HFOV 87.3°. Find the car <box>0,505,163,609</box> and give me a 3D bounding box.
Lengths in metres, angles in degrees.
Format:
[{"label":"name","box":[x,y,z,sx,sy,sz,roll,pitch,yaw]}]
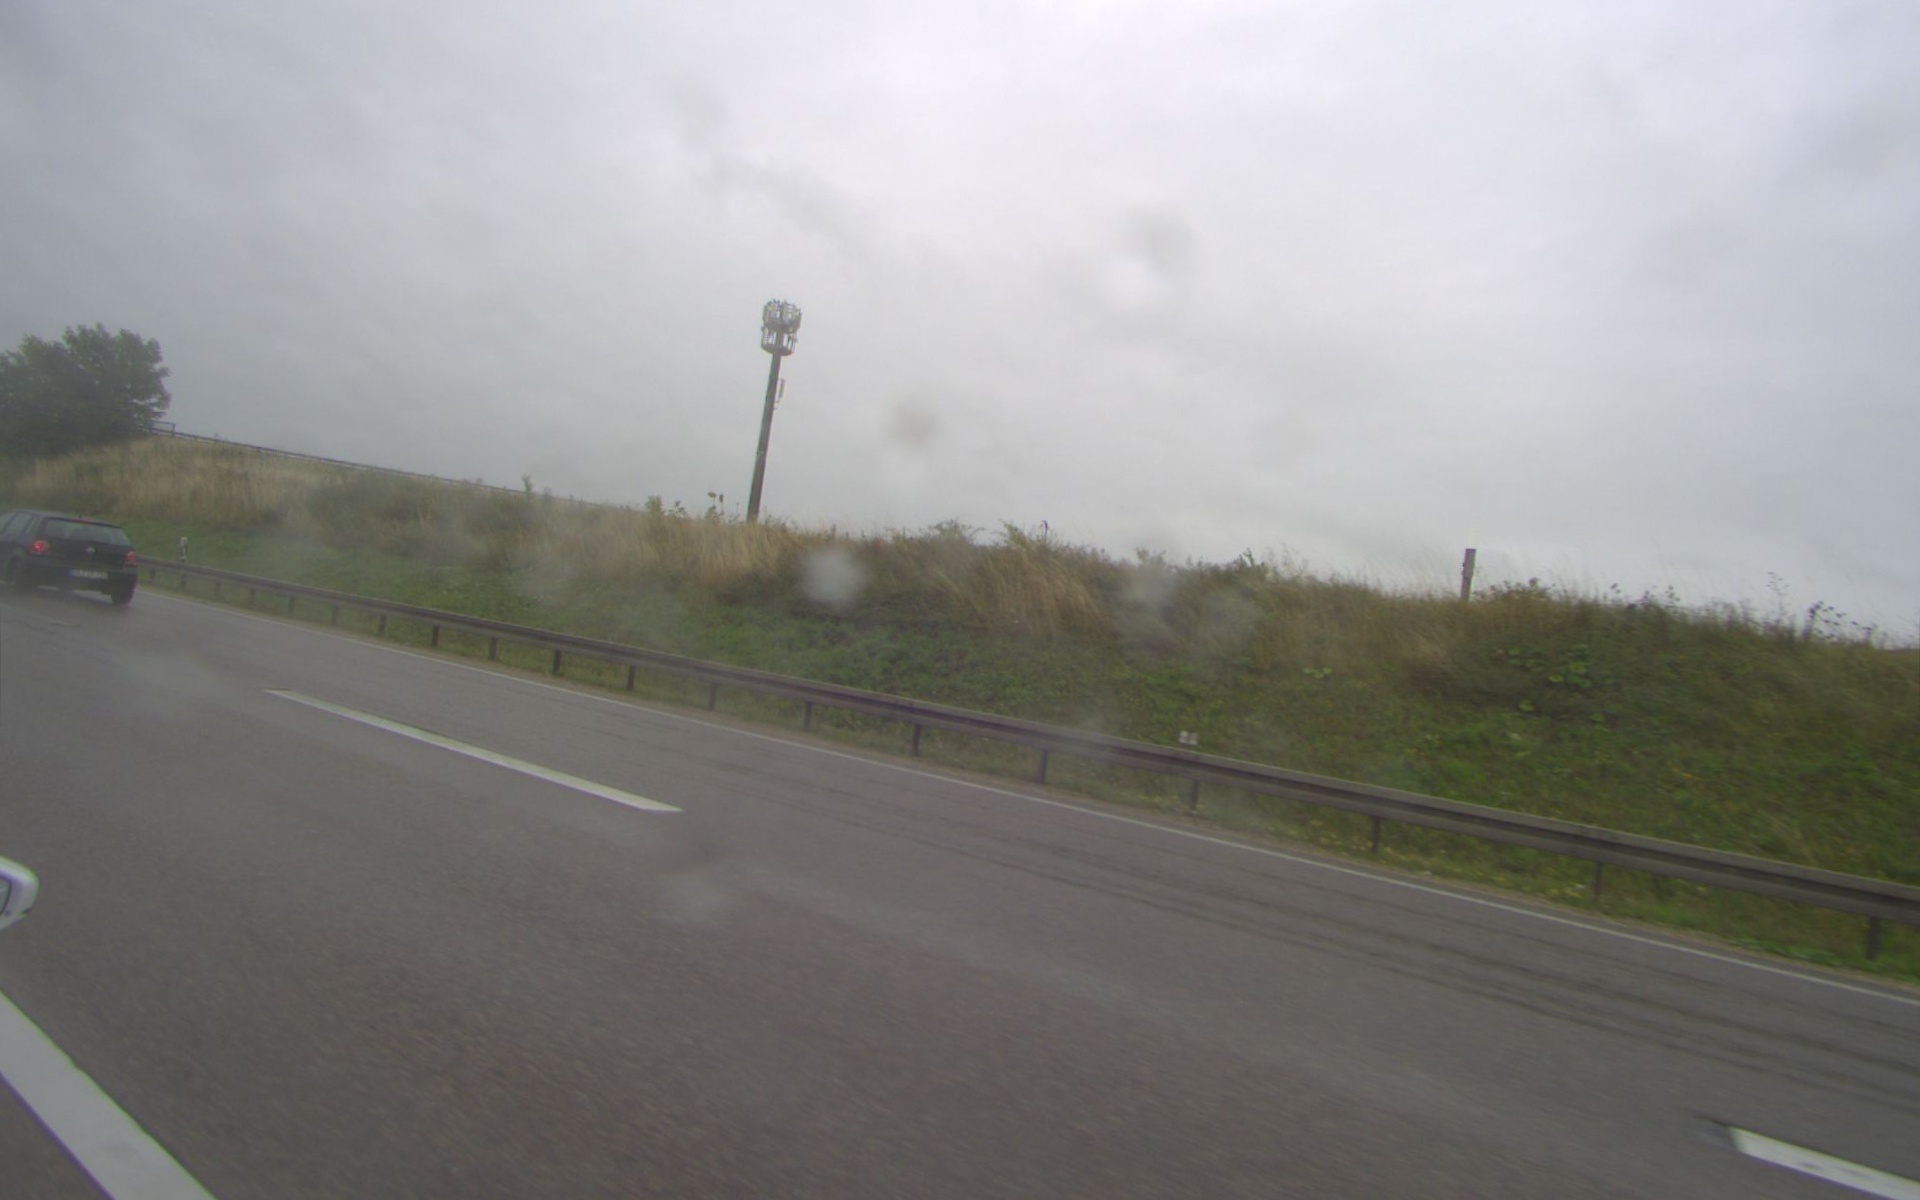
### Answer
[{"label":"car","box":[-16.077,-0.821,17.822,3.596,1.437,1.736,7,-2,30]}]
